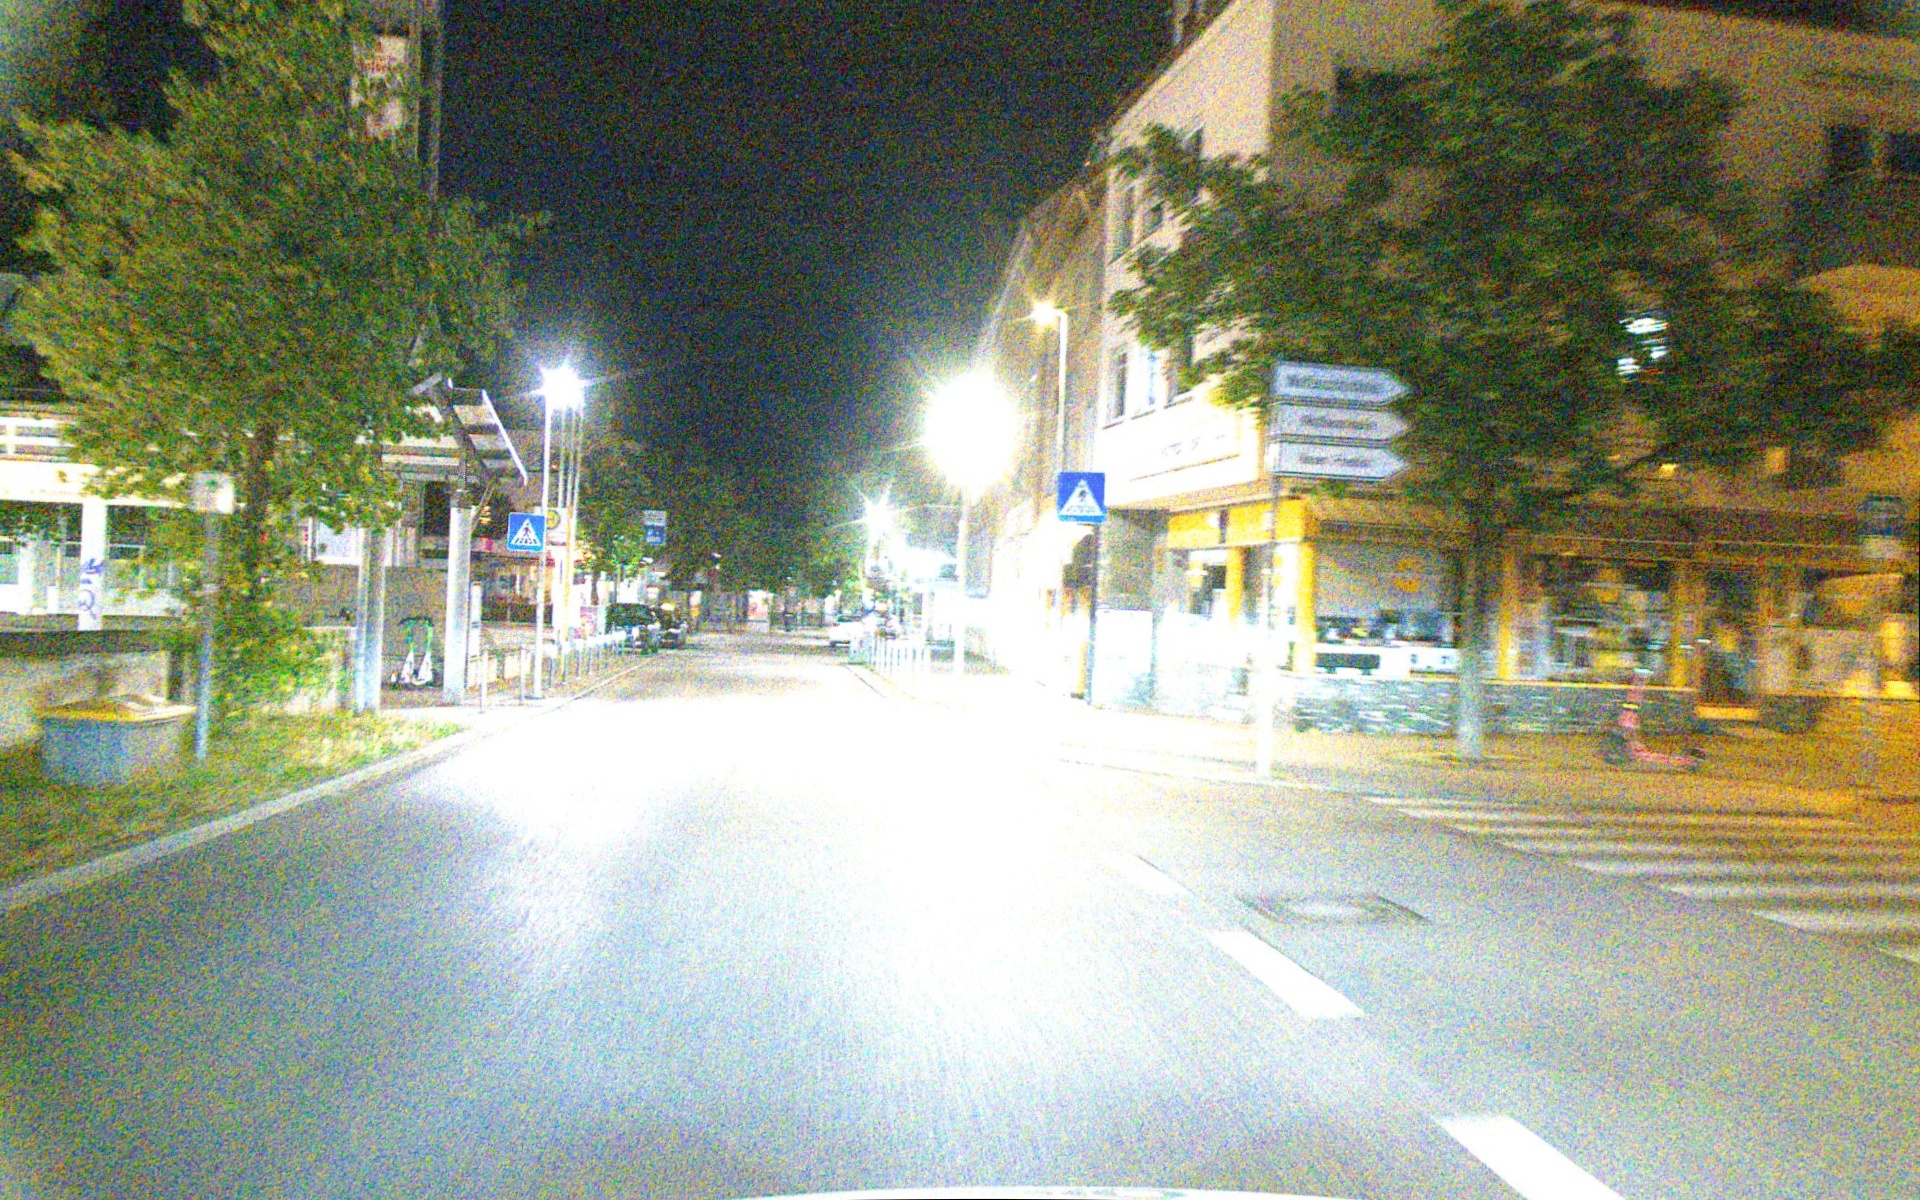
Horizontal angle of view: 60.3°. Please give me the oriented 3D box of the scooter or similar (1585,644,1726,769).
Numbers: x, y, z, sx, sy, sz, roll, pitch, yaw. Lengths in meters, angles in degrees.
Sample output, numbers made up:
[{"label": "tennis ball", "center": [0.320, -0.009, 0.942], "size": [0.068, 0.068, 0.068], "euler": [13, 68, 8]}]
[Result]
[{"label": "scooter or similar", "center": [7.552, 1.144, 17.978], "size": [1.221, 1.248, 0.598], "euler": [3, 1, -1]}]

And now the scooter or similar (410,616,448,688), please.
[{"label": "scooter or similar", "center": [-8.954, 0.869, 27.916], "size": [0.422, 1.154, 1.002], "euler": [0, 1, -7]}]

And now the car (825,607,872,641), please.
[{"label": "car", "center": [-4.902, 1.028, 72.607], "size": [1.799, 1.382, 3.993], "euler": [0, 1, -8]}]

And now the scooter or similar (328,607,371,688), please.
[{"label": "scooter or similar", "center": [-10.230, 0.784, 27.743], "size": [0.422, 1.307, 1.145], "euler": [0, 1, -7]}]

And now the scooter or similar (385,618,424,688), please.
[{"label": "scooter or similar", "center": [-9.373, 0.884, 27.921], "size": [0.422, 1.125, 1.002], "euler": [0, 1, -7]}]

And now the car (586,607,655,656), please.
[{"label": "car", "center": [-10.626, 0.988, 51.928], "size": [1.799, 1.478, 3.993], "euler": [0, -1, -7]}]

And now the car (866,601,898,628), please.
[{"label": "car", "center": [-4.812, 0.876, 101.973], "size": [1.677, 1.574, 3.533], "euler": [0, 1, -8]}]

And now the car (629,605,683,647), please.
[{"label": "car", "center": [-11.549, 0.961, 62.642], "size": [1.802, 1.478, 3.986], "euler": [0, 1, -14]}]
